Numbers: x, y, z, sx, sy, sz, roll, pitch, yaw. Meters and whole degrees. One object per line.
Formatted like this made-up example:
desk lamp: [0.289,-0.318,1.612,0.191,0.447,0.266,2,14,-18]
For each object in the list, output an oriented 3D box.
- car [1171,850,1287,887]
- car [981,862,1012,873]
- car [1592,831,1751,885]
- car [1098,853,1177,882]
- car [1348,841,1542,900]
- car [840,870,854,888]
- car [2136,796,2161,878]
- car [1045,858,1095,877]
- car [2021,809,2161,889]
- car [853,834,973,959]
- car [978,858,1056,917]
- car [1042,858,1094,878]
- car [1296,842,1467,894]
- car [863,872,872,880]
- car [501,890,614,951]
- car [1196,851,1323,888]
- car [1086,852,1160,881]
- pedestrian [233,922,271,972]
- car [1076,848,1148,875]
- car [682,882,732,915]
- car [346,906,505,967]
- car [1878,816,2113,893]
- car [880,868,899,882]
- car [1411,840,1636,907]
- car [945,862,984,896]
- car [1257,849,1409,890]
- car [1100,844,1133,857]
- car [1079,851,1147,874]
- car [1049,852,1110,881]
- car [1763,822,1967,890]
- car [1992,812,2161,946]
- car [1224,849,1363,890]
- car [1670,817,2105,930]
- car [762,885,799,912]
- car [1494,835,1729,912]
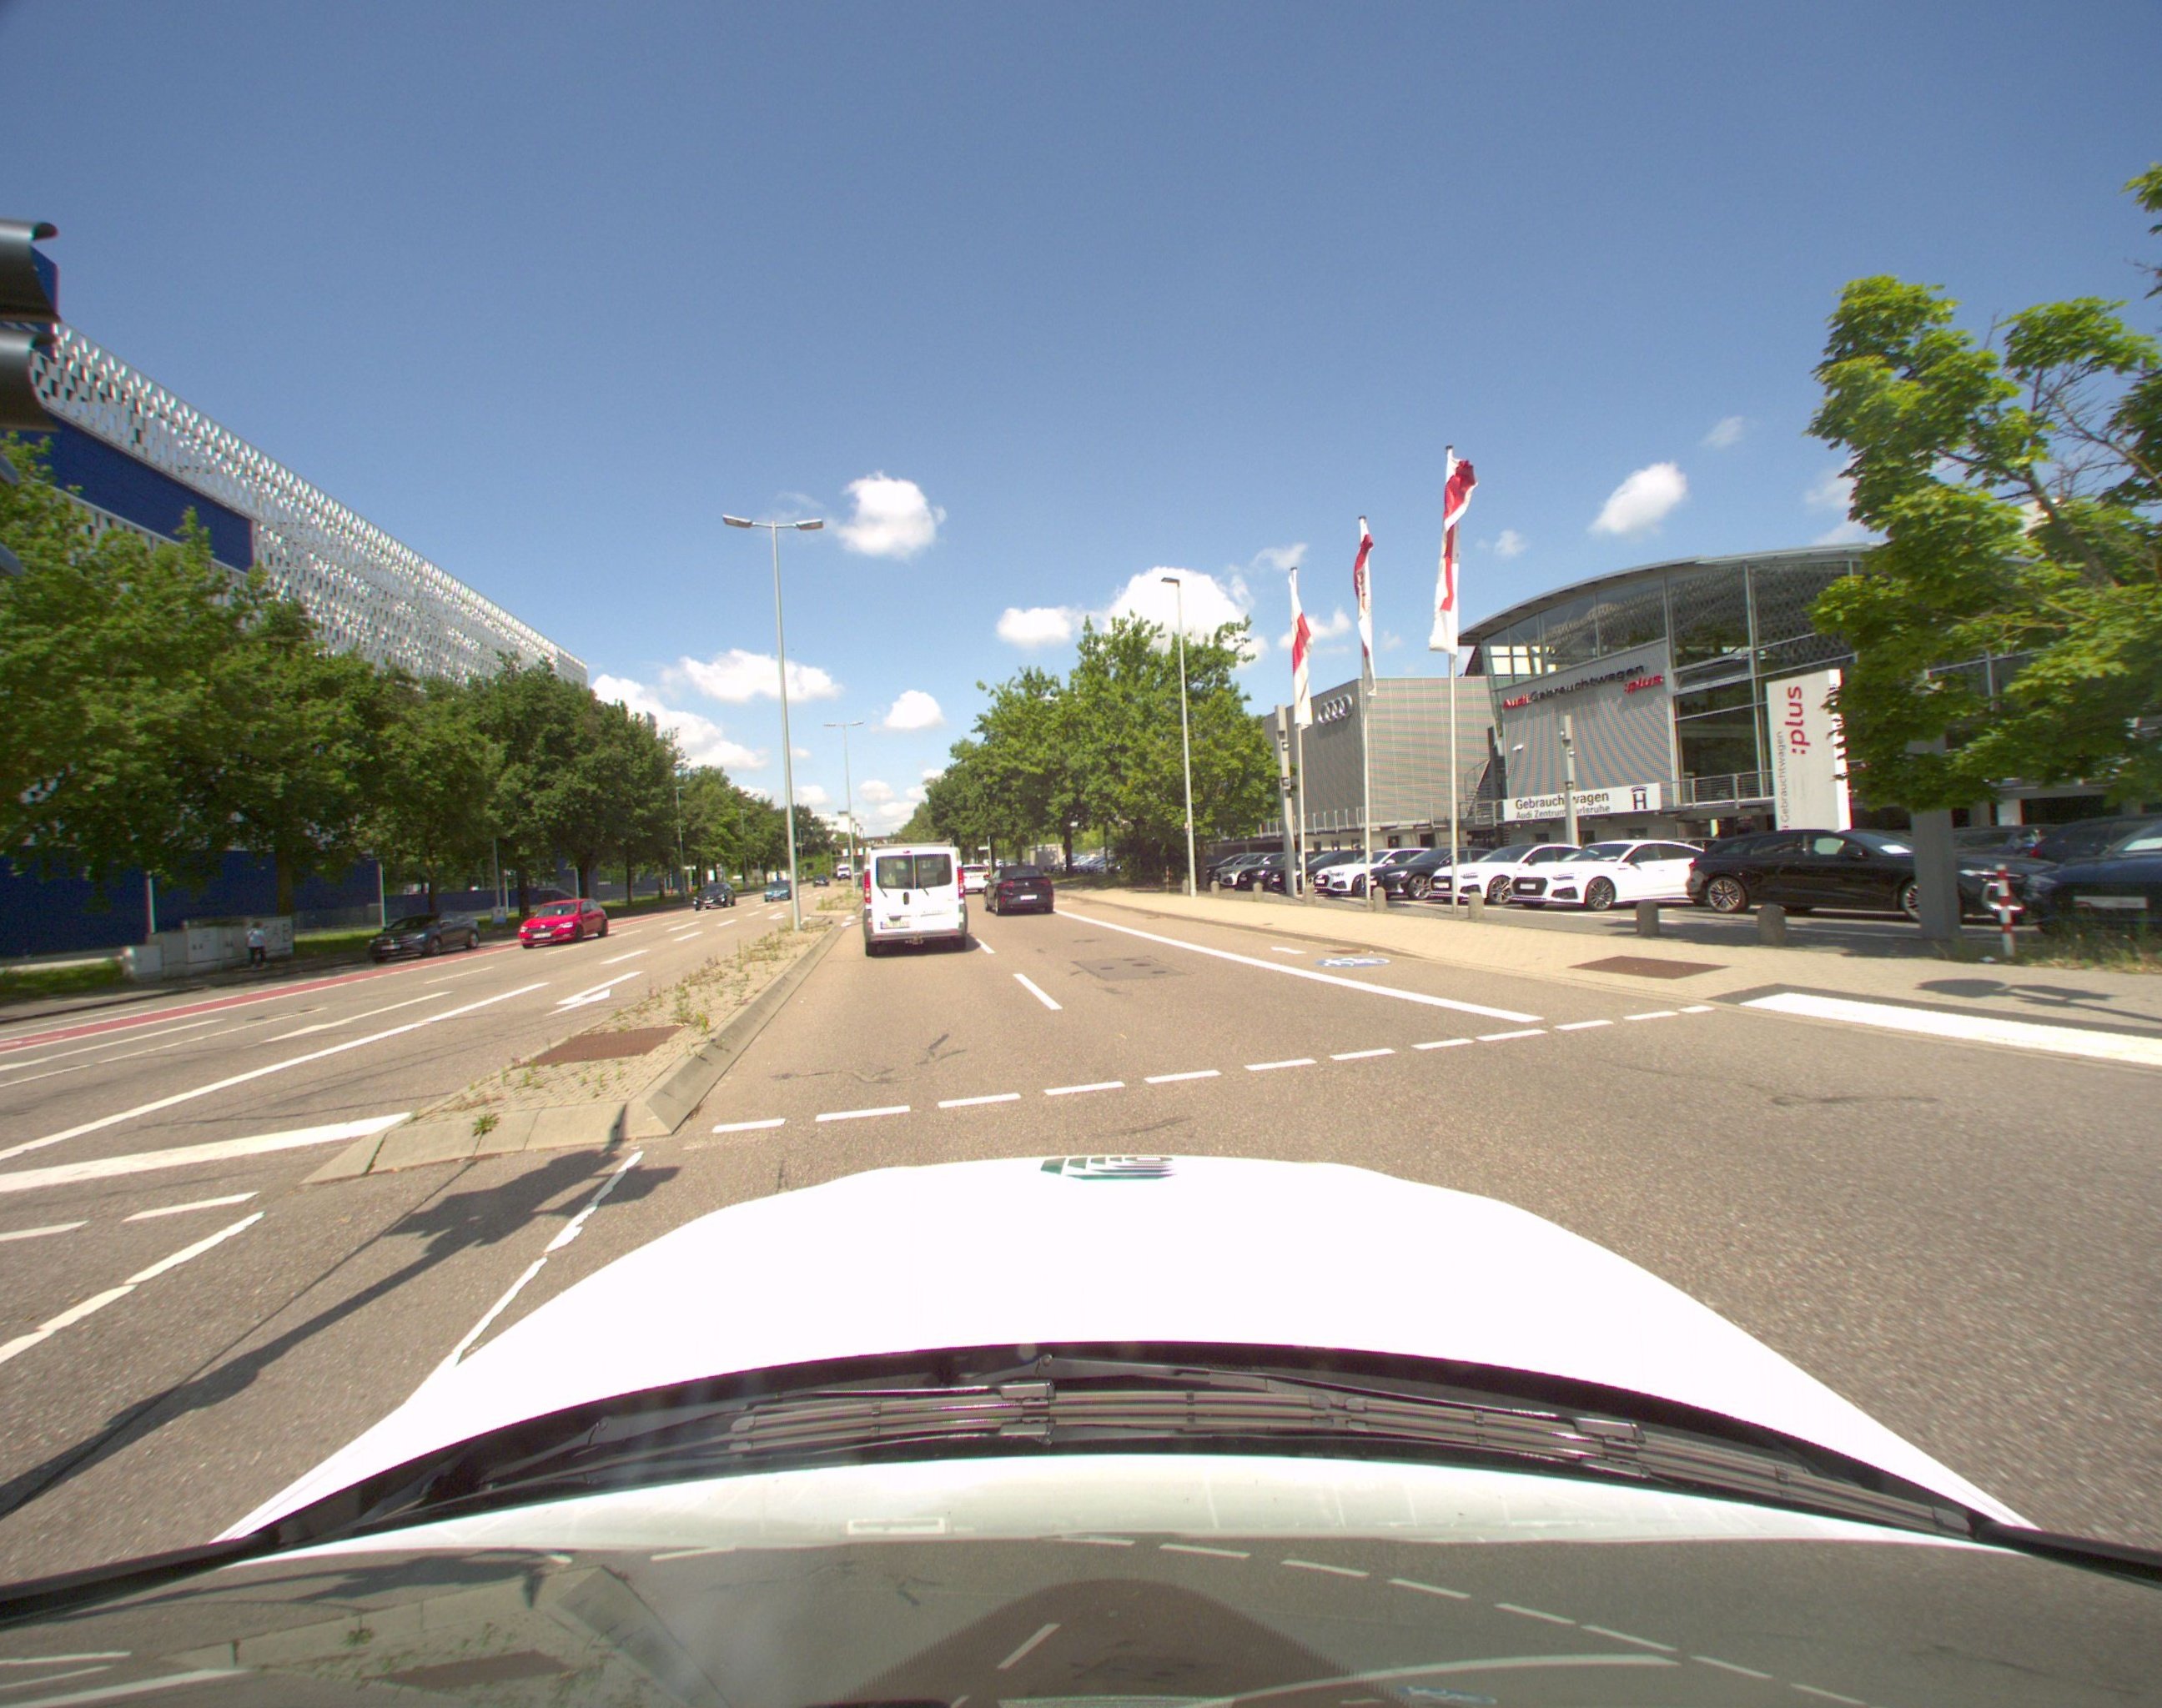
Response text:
car: [6.382,0.603,35.320,4.581,1.405,1.898,-1,1,-14]
car: [-12.601,2.002,121.831,4.363,1.512,1.926,-2,1,-15]
car: [19.772,0.118,27.313,4.352,1.499,1.898,-3,-1,-14]
car: [3.535,0.857,51.591,4.581,1.499,1.898,-3,-1,-14]
car: [9.782,0.401,21.972,4.581,1.297,1.898,-2,1,-14]
car: [-40.274,4.249,139.827,2.028,2.893,6.344,-3,-1,-17]
car: [24.249,-0.382,15.597,1.997,1.740,4.530,-2,1,-15]
car: [-1.011,1.155,71.790,4.112,1.445,1.847,-2,0,-13]
car: [21.615,-0.100,15.337,1.981,1.511,4.733,0,-1,-14]
car: [-3.516,0.731,16.477,1.977,2.059,4.541,-3,1,-15]
car: [-2.128,1.001,26.075,1.777,1.629,3.980,-3,1,-15]
car: [-1.206,1.303,74.140,4.360,1.513,1.847,-4,-1,-13]
car: [9.041,0.380,24.593,4.581,1.297,1.898,-2,1,-14]
car: [-51.605,5.315,196.937,1.995,1.771,3.984,-2,1,-12]
car: [-17.803,2.195,27.964,1.846,1.601,4.541,-3,1,-15]
car: [7.108,0.613,32.544,4.581,1.405,1.898,0,0,-14]
car: [2.791,0.790,54.231,4.581,1.678,1.898,-2,1,-14]
pedestrian: [-27.514,3.075,27.033,0.503,1.555,0.757,-3,0,-13]
car: [2.128,0.490,56.544,4.581,1.678,1.898,-2,1,-14]
car: [-24.119,2.849,52.636,1.931,1.755,4.797,-6,0,-14]
car: [-22.650,2.803,28.428,1.886,1.555,4.583,-4,0,-2]
car: [21.899,0.002,19.554,4.352,1.499,1.898,-3,-1,-14]
car: [-23.278,2.568,98.689,1.860,1.442,3.975,-3,1,-18]
car: [10.370,0.400,19.194,4.581,1.297,1.898,-2,1,-14]
car: [-6.291,1.309,43.751,1.775,1.629,3.984,-3,1,-11]
car: [8.465,0.502,27.429,4.581,1.297,1.898,1,0,-14]
car: [5.104,-0.501,117.733,4.356,1.774,1.929,-2,1,-11]
car: [2.310,0.586,59.108,4.581,1.404,1.898,-2,1,-14]
car: [-0.164,0.997,66.186,4.581,2.049,1.898,-2,1,-14]
car: [21.109,0.047,21.985,4.352,1.499,1.898,-3,-1,-14]
car: [12.953,0.173,9.028,4.581,1.297,1.898,-2,1,-14]
car: [7.762,0.537,29.845,4.581,1.383,1.898,-1,1,-14]
car: [12.396,0.295,13.084,1.792,1.464,4.733,0,-1,-14]
car: [-20.907,3.063,56.891,1.776,1.548,4.797,-6,0,-14]
car: [10.787,0.379,16.657,3.992,1.464,1.787,0,-1,-14]
